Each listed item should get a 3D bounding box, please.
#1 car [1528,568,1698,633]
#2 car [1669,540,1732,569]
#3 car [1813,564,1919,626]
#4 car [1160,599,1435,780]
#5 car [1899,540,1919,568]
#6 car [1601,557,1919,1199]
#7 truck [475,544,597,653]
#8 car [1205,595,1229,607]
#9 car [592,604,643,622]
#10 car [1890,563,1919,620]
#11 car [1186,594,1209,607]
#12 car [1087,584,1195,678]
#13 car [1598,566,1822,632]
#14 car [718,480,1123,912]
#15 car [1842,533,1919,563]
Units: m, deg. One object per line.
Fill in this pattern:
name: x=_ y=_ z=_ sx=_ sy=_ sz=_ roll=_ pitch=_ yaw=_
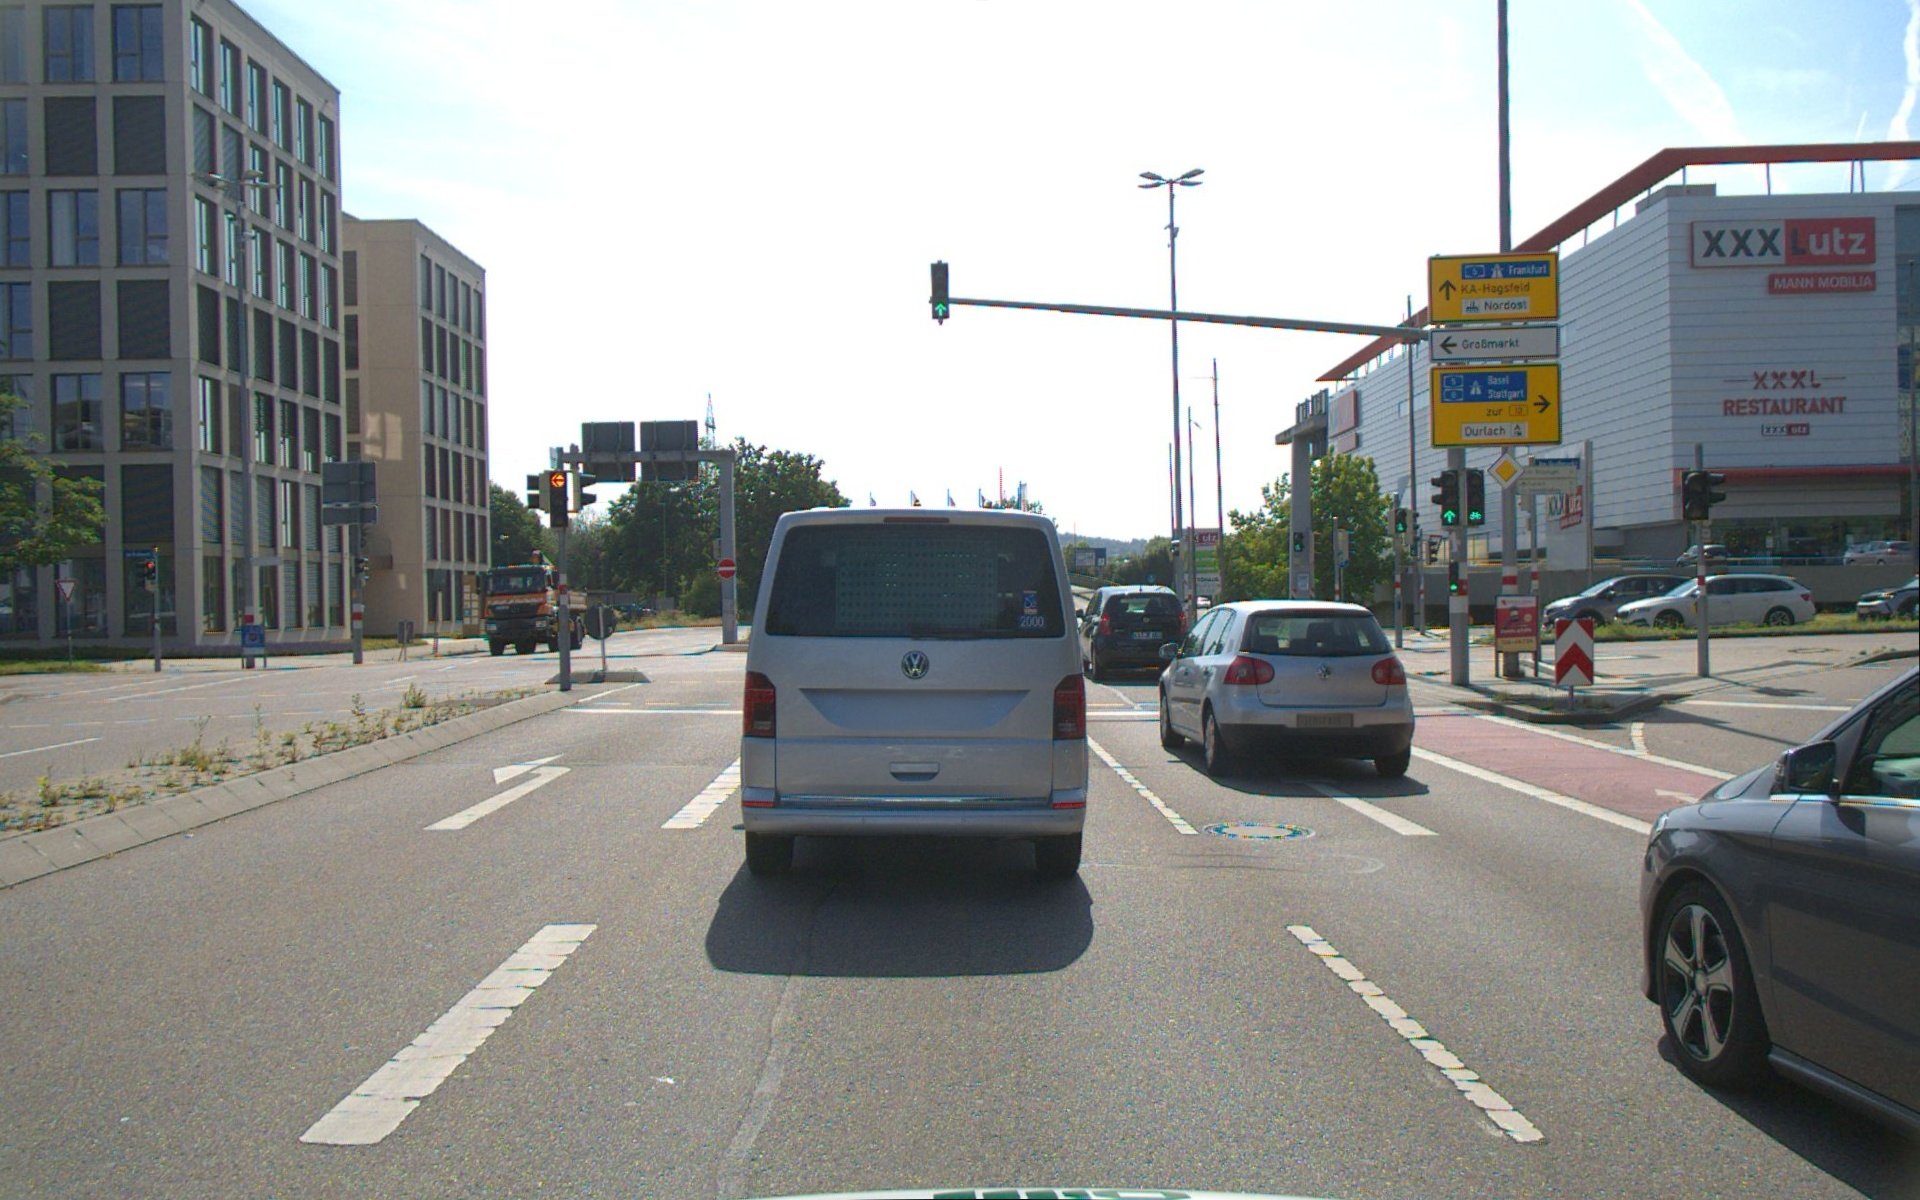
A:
car: x=17.291 y=0.011 z=43.927 sx=3.803 sy=1.586 sz=1.809 roll=-1 pitch=0 yaw=3
car: x=41.644 y=-2.543 z=93.108 sx=1.734 sy=1.444 sz=4.201 roll=-1 pitch=0 yaw=2
car: x=24.846 y=-0.150 z=43.356 sx=3.945 sy=1.535 sz=1.909 roll=-2 pitch=-1 yaw=2
car: x=2.925 y=0.715 z=15.068 sx=1.633 sy=1.439 sz=3.681 roll=0 pitch=0 yaw=-2
car: x=51.559 y=-2.462 z=87.180 sx=1.794 sy=1.444 sz=4.201 roll=-1 pitch=0 yaw=2
car: x=3.170 y=0.696 z=3.711 sx=1.738 sy=1.566 sz=4.136 roll=1 pitch=1 yaw=-2
truck: x=-15.801 y=-0.066 z=62.233 sx=2.691 sy=3.744 sz=7.577 roll=-2 pitch=0 yaw=-1
car: x=33.641 y=0.133 z=216.248 sx=1.957 sy=1.445 sz=3.991 roll=1 pitch=-1 yaw=-9
car: x=-29.018 y=1.117 z=140.040 sx=4.039 sy=1.445 sz=1.718 roll=-1 pitch=-2 yaw=-20
car: x=25.142 y=-0.250 z=40.318 sx=3.960 sy=1.365 sz=1.724 roll=-1 pitch=-1 yaw=1
car: x=30.978 y=0.058 z=216.171 sx=1.849 sy=1.545 sz=3.991 roll=1 pitch=-1 yaw=-9
car: x=3.036 y=0.493 z=28.270 sx=1.499 sy=1.505 sz=3.596 roll=0 pitch=0 yaw=1
car: x=18.471 y=-0.006 z=40.890 sx=4.618 sy=1.450 sz=1.959 roll=-2 pitch=-1 yaw=2
car: x=-0.217 y=0.443 z=9.867 sx=1.878 sy=2.010 sz=4.296 roll=0 pitch=0 yaw=-1
car: x=48.867 y=-2.747 z=87.896 sx=1.762 sy=1.444 sz=4.007 roll=-1 pitch=0 yaw=-1
